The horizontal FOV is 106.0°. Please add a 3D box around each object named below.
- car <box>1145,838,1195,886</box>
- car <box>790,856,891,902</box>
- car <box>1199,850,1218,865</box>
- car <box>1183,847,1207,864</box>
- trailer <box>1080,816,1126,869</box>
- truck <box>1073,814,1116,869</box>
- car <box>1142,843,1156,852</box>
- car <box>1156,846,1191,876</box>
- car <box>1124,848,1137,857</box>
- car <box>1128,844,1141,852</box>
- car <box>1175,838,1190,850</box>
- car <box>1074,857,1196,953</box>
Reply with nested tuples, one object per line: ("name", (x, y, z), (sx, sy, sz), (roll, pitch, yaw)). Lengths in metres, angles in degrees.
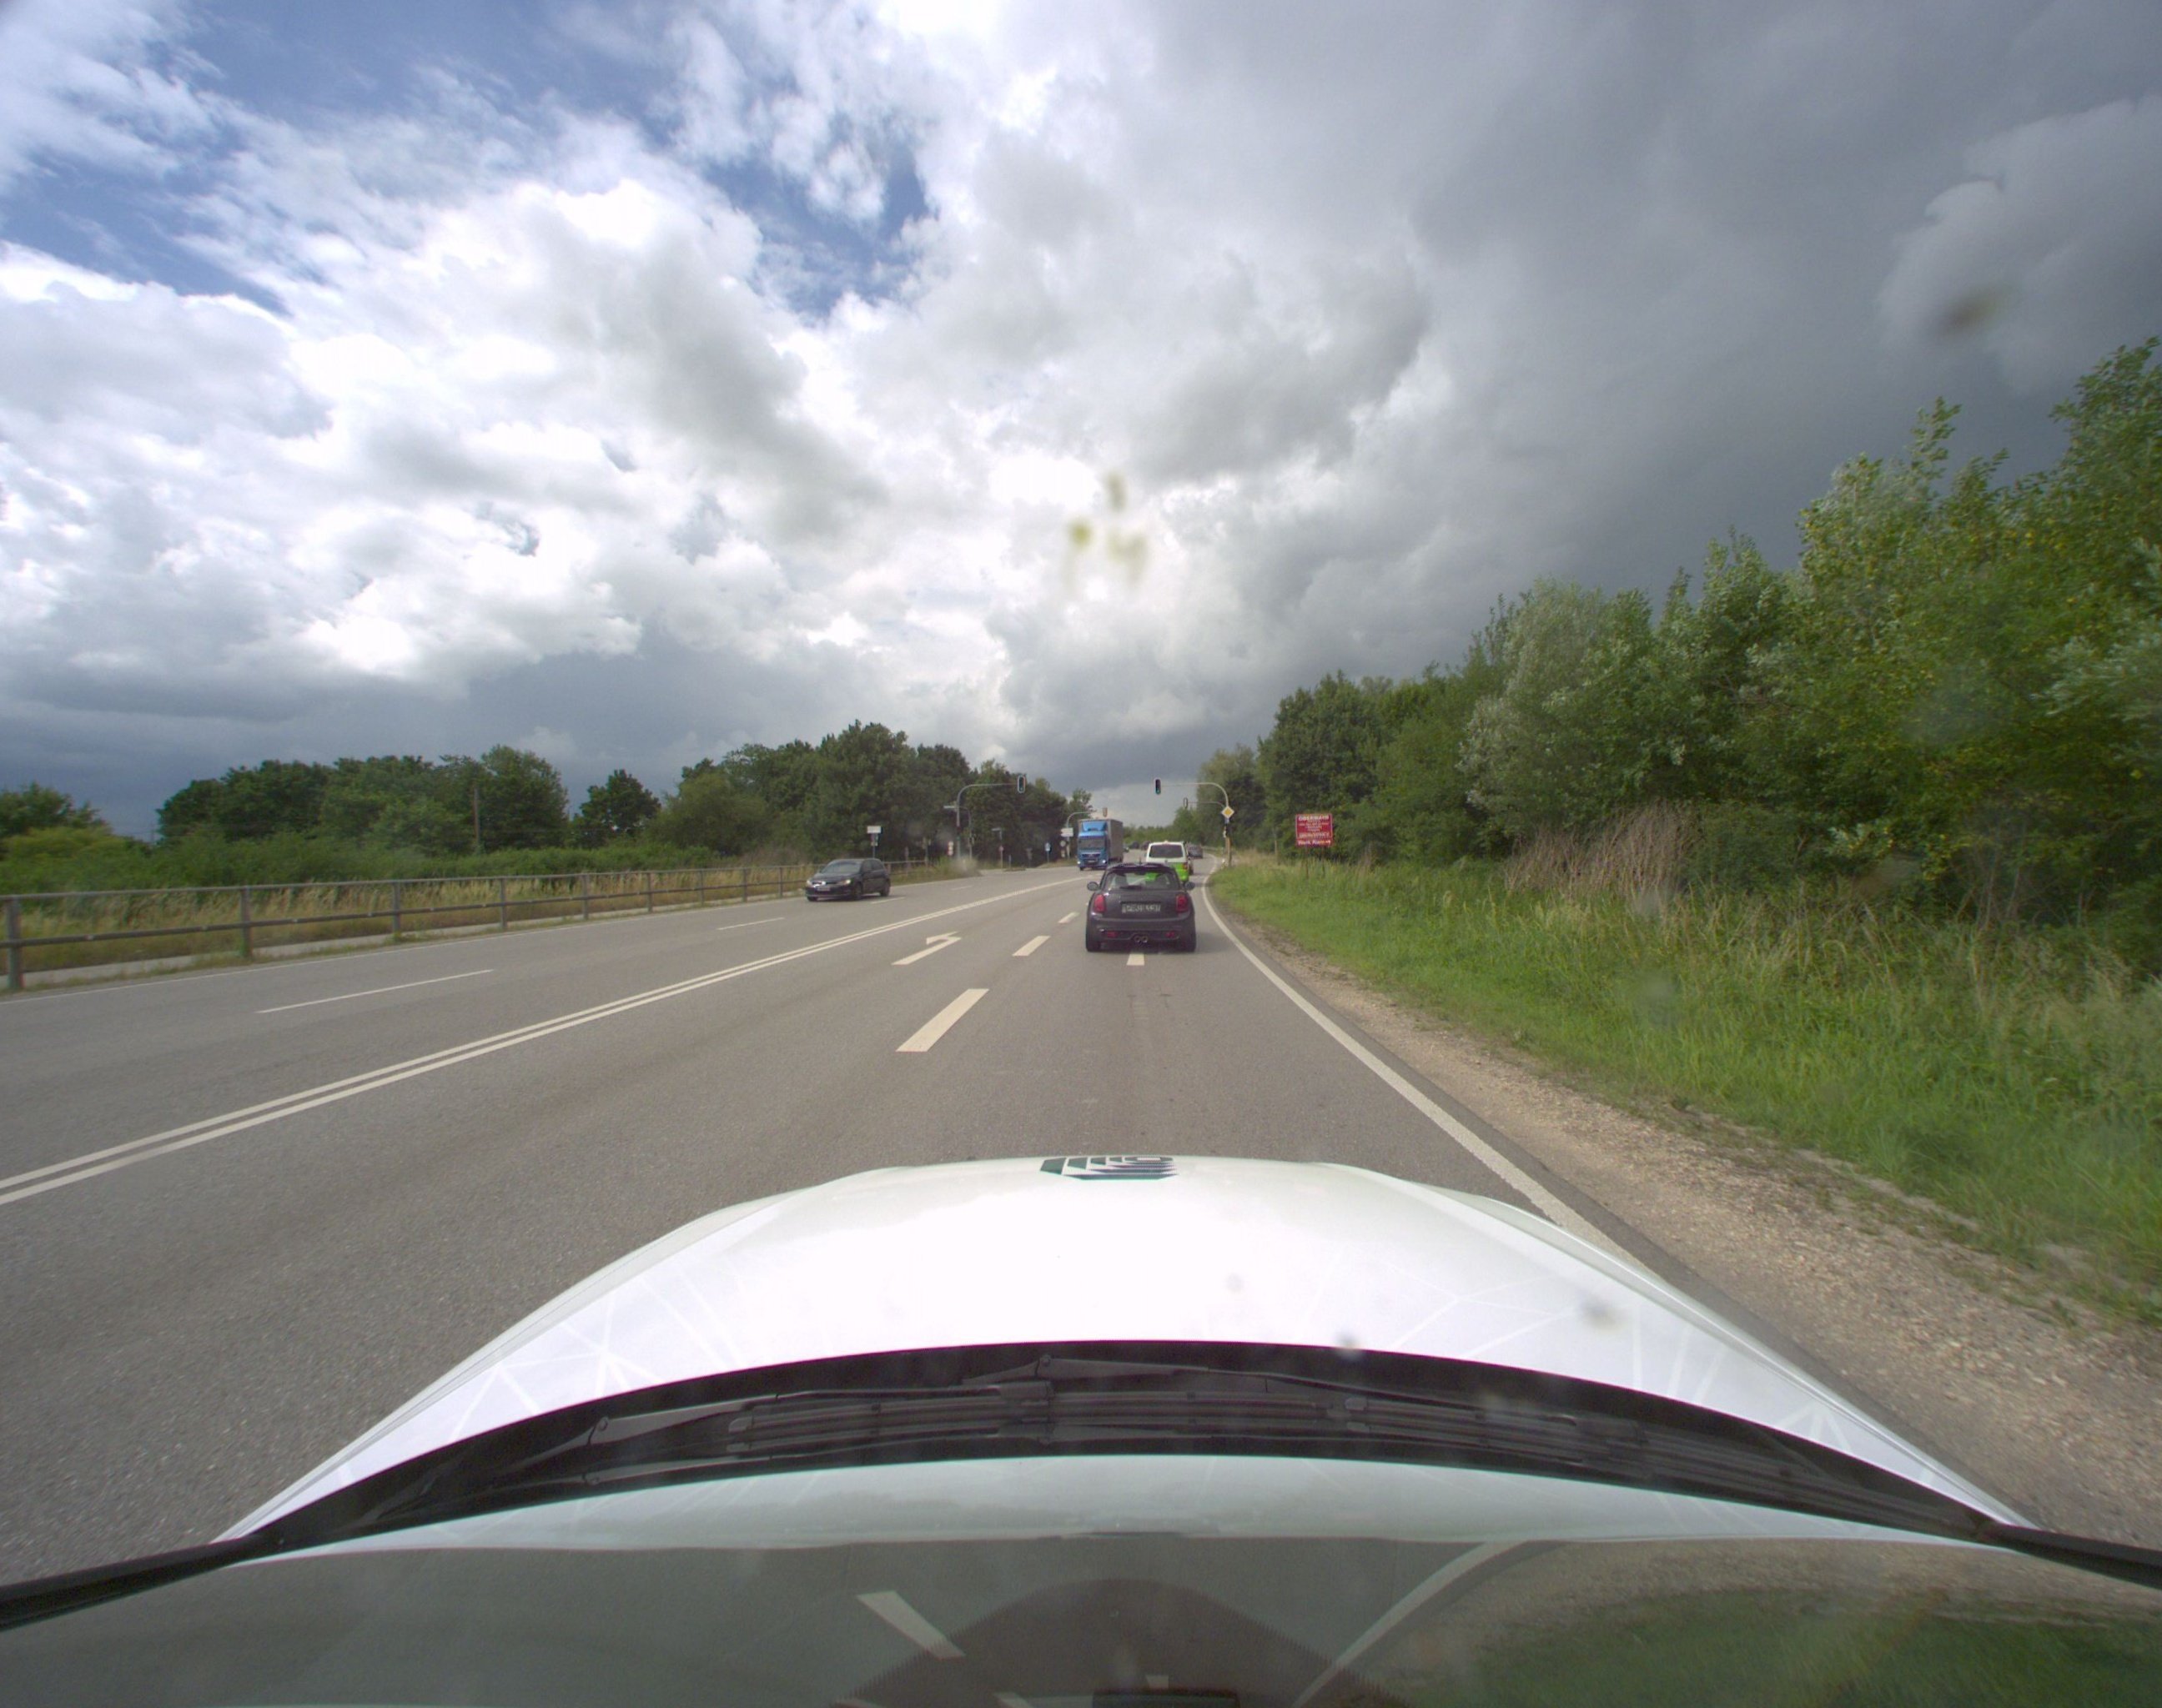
("car", (4.012, 0.356, 36.283), (1.833, 1.987, 3.853), (-1, 0, 11))
("car", (-8.280, 0.815, 28.458), (1.936, 1.441, 4.007), (-1, 0, 6))
("car", (15.510, 0.409, 98.799), (1.980, 1.684, 3.991), (0, -2, 13))
("car", (12.188, 0.145, 86.766), (1.979, 1.684, 4.016), (0, -2, 15))
("trailer", (1.864, -0.945, 67.188), (2.510, 4.101, 6.757), (-1, 0, 12))
("truck", (1.063, -0.938, 63.471), (2.523, 4.096, 4.013), (-1, 0, 12))
("car", (13.196, -1.308, 158.142), (1.990, 1.695, 4.478), (-1, 0, -5))
("car", (5.550, 0.425, 48.865), (1.983, 1.684, 4.007), (-1, -1, 6))
("car", (9.113, -0.259, 149.014), (1.778, 1.530, 4.915), (-4, 0, 8))
("car", (11.497, -1.199, 174.842), (1.992, 1.695, 4.475), (-1, 0, -7))
("car", (15.210, -1.481, 122.620), (1.985, 1.684, 4.003), (0, -2, 3))
("car", (0.962, 0.787, 14.229), (1.836, 1.428, 3.846), (-1, 0, 4))
